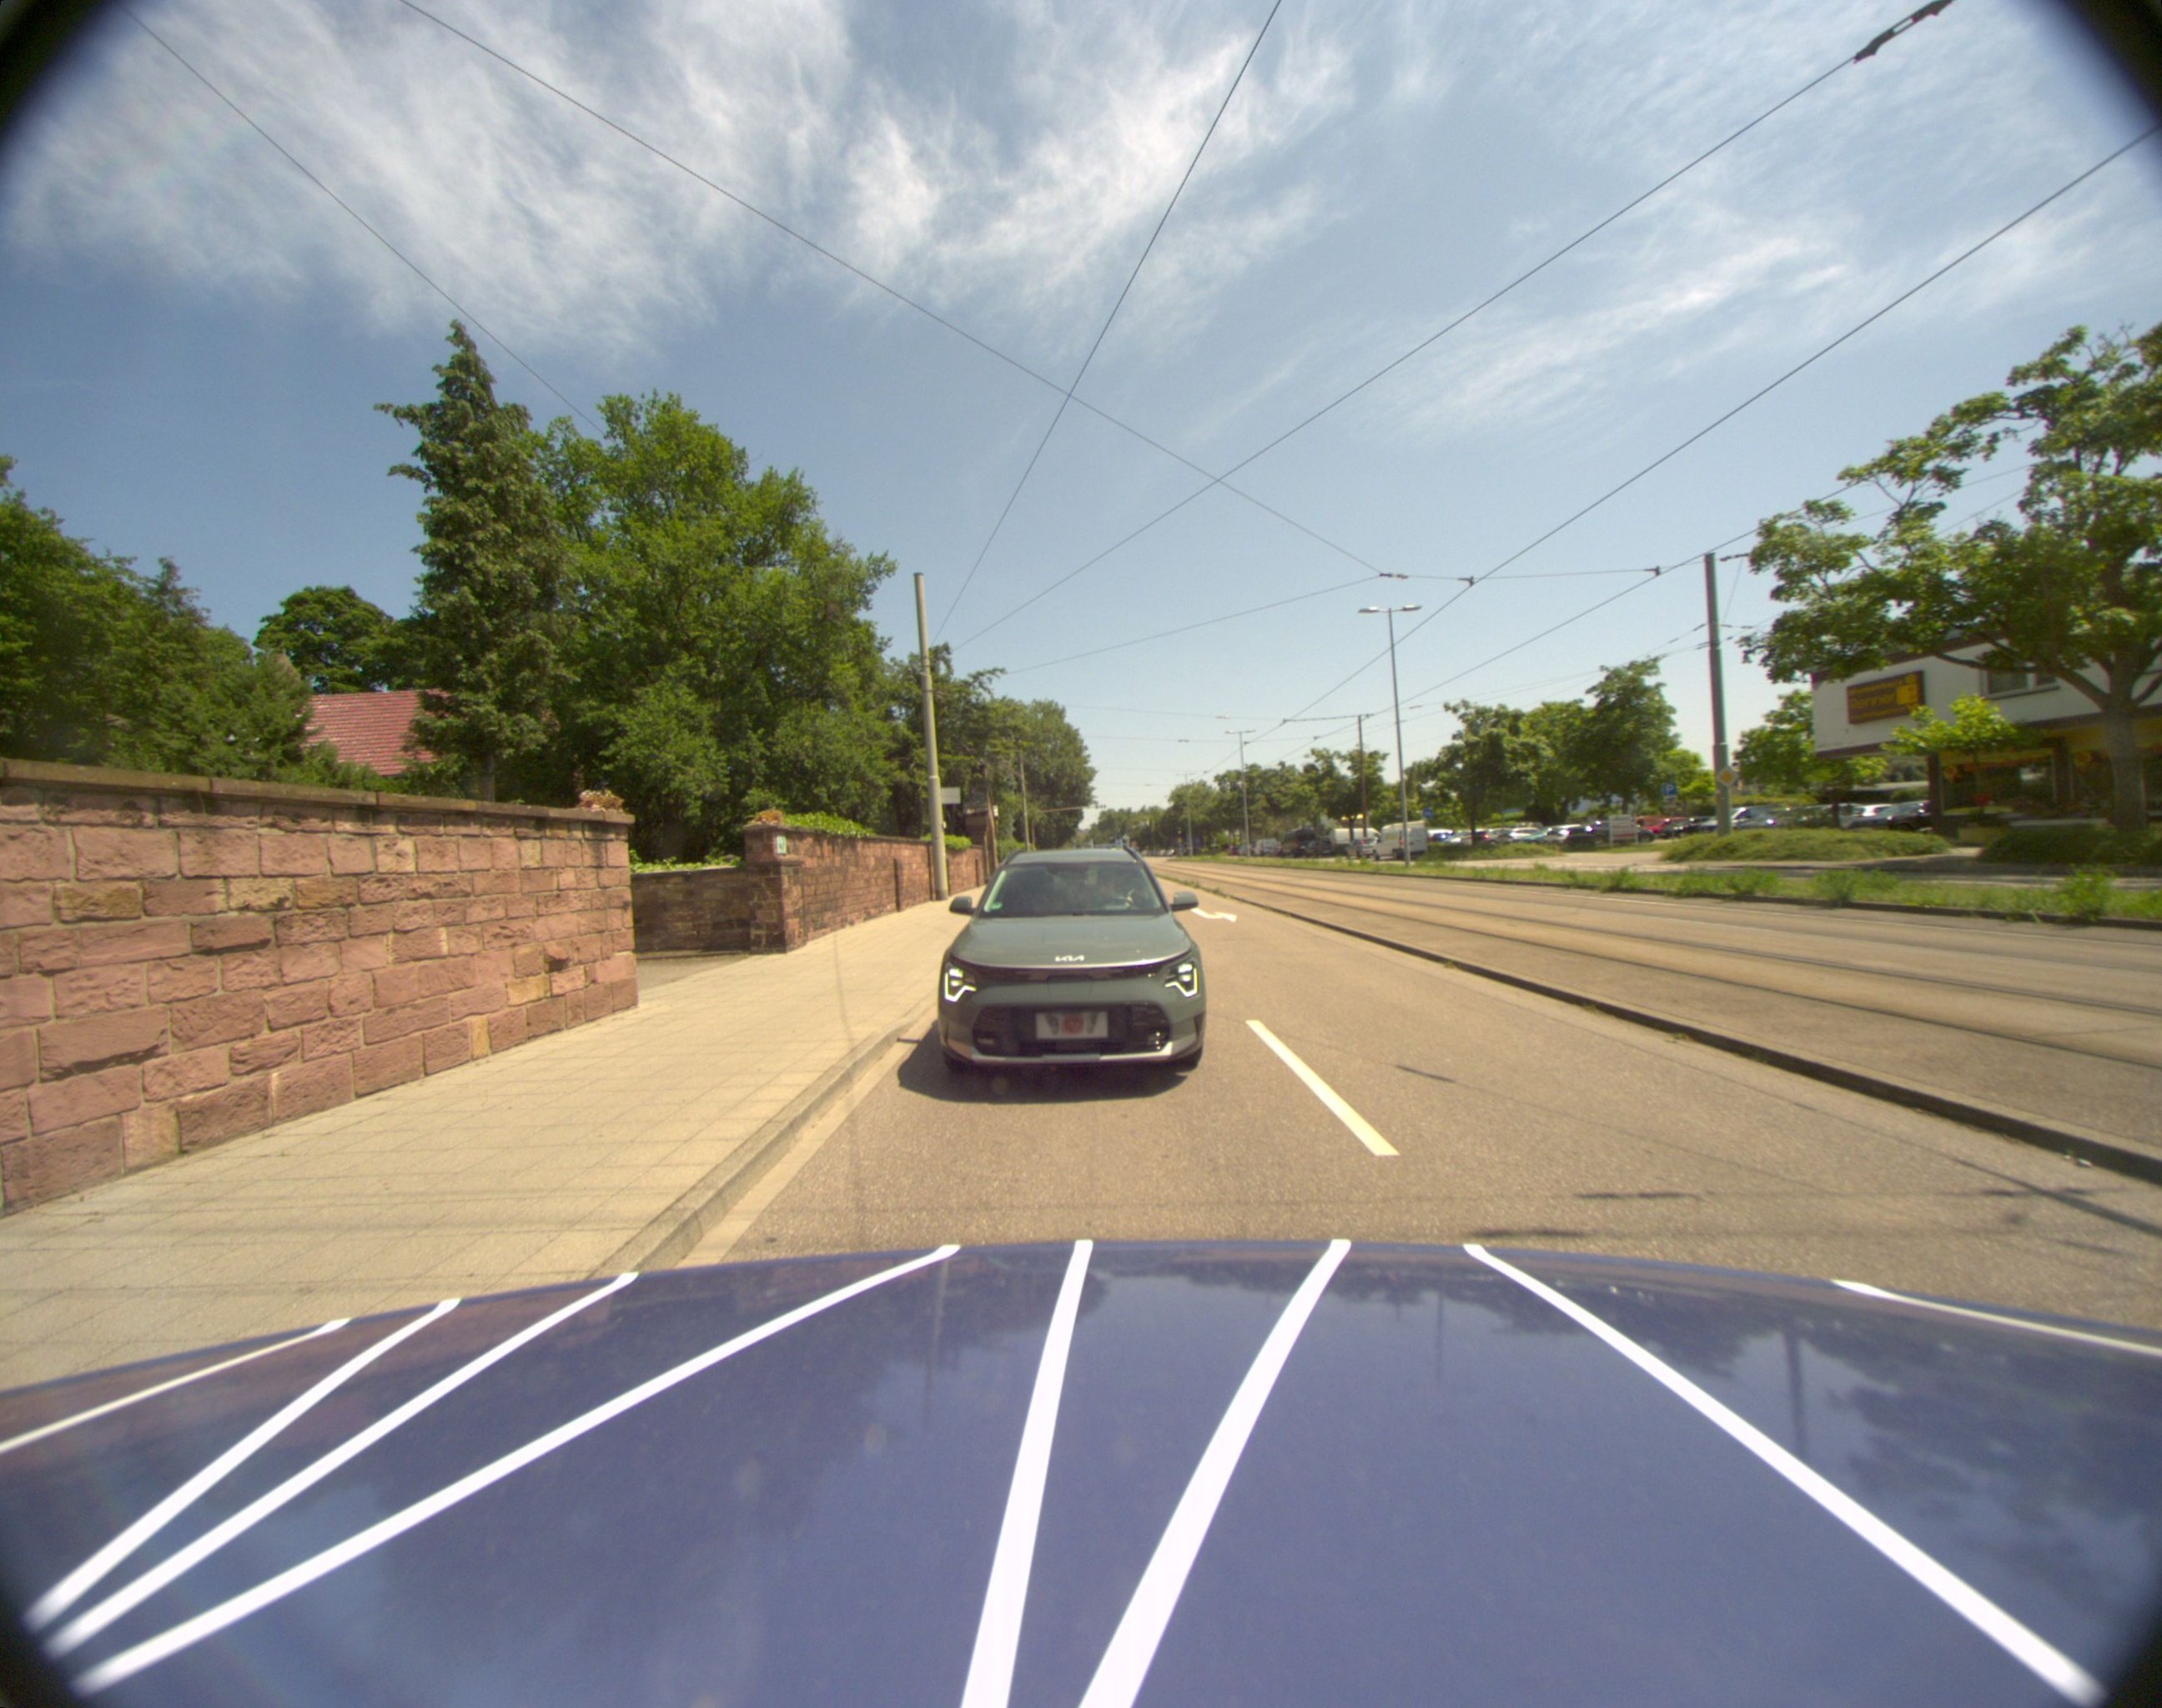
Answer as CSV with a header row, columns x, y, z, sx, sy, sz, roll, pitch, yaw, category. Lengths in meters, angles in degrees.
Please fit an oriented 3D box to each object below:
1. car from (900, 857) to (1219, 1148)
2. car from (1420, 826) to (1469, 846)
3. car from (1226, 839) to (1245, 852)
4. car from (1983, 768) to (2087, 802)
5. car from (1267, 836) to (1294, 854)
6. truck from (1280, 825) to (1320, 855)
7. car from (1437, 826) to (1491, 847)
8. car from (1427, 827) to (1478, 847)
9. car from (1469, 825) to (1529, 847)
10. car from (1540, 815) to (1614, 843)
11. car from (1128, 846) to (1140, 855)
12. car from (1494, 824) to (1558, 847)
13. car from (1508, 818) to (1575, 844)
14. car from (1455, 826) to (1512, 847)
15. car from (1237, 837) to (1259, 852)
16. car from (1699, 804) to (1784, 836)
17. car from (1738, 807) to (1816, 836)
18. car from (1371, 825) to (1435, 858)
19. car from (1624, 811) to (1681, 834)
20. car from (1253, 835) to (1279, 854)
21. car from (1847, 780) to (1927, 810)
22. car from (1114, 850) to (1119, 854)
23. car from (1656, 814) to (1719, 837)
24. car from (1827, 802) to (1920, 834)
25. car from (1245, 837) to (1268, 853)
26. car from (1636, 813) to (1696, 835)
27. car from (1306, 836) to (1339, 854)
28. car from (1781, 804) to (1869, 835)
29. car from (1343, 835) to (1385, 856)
x,y,z,sx,sy,sz,roll,pitch,yaw,category
-0.094,0.872,6.494,1.789,1.561,4.183,-2,1,1,car
31.436,-1.585,65.771,3.414,1.497,1.602,-3,1,-5,car
20.599,-1.137,101.441,1.681,1.693,3.823,-3,0,0,car
61.258,-4.417,48.841,3.996,1.761,2.000,-3,1,2,car
20.714,-0.901,78.868,1.681,1.783,3.868,-3,0,0,car
20.242,-1.290,70.479,2.225,2.526,4.929,-3,0,1,truck
30.336,-1.368,60.197,3.414,1.386,1.602,-3,1,-5,car
30.863,-1.423,63.091,3.414,1.386,1.602,-3,1,-5,car
30.153,-1.292,54.811,3.414,1.386,1.602,-3,1,-5,car
30.972,-1.548,47.502,3.414,1.482,1.793,-3,1,-5,car
10.588,-0.739,152.671,1.998,1.652,4.000,-3,0,0,car
30.723,-1.286,52.502,3.414,1.386,1.602,-3,1,-5,car
30.269,-1.508,49.964,3.414,1.482,1.598,-3,1,-5,car
30.590,-1.348,57.790,3.414,1.386,1.602,-3,1,-5,car
20.818,-1.132,94.714,1.681,1.783,4.202,-3,0,0,car
43.121,-2.187,49.634,3.998,1.774,1.813,-3,1,-2,car
43.301,-2.022,47.302,3.492,1.528,1.534,-3,1,-2,car
20.245,-0.752,47.990,1.998,1.872,4.661,-3,0,1,car
45.070,-2.475,59.941,3.355,1.552,1.506,-3,1,-2,car
20.506,-1.083,84.318,1.681,1.963,4.509,-3,0,0,car
63.616,-4.646,60.014,3.996,2.002,2.000,-3,1,2,car
11.898,-0.686,254.567,1.737,1.469,4.000,-4,0,0,car
43.807,-2.055,54.899,3.355,1.381,1.506,-3,1,-2,car
43.803,-1.983,42.030,3.492,1.528,1.624,-3,1,-2,car
20.850,-1.074,90.345,1.681,1.783,4.202,-3,0,0,car
44.182,-2.264,57.425,3.355,1.450,1.506,-3,1,-2,car
20.372,-0.723,64.317,1.675,1.378,3.669,-3,0,2,car
43.074,-1.963,44.030,3.492,1.528,1.624,-3,1,-2,car
20.210,-0.591,54.406,1.675,1.378,3.569,-3,0,2,car
